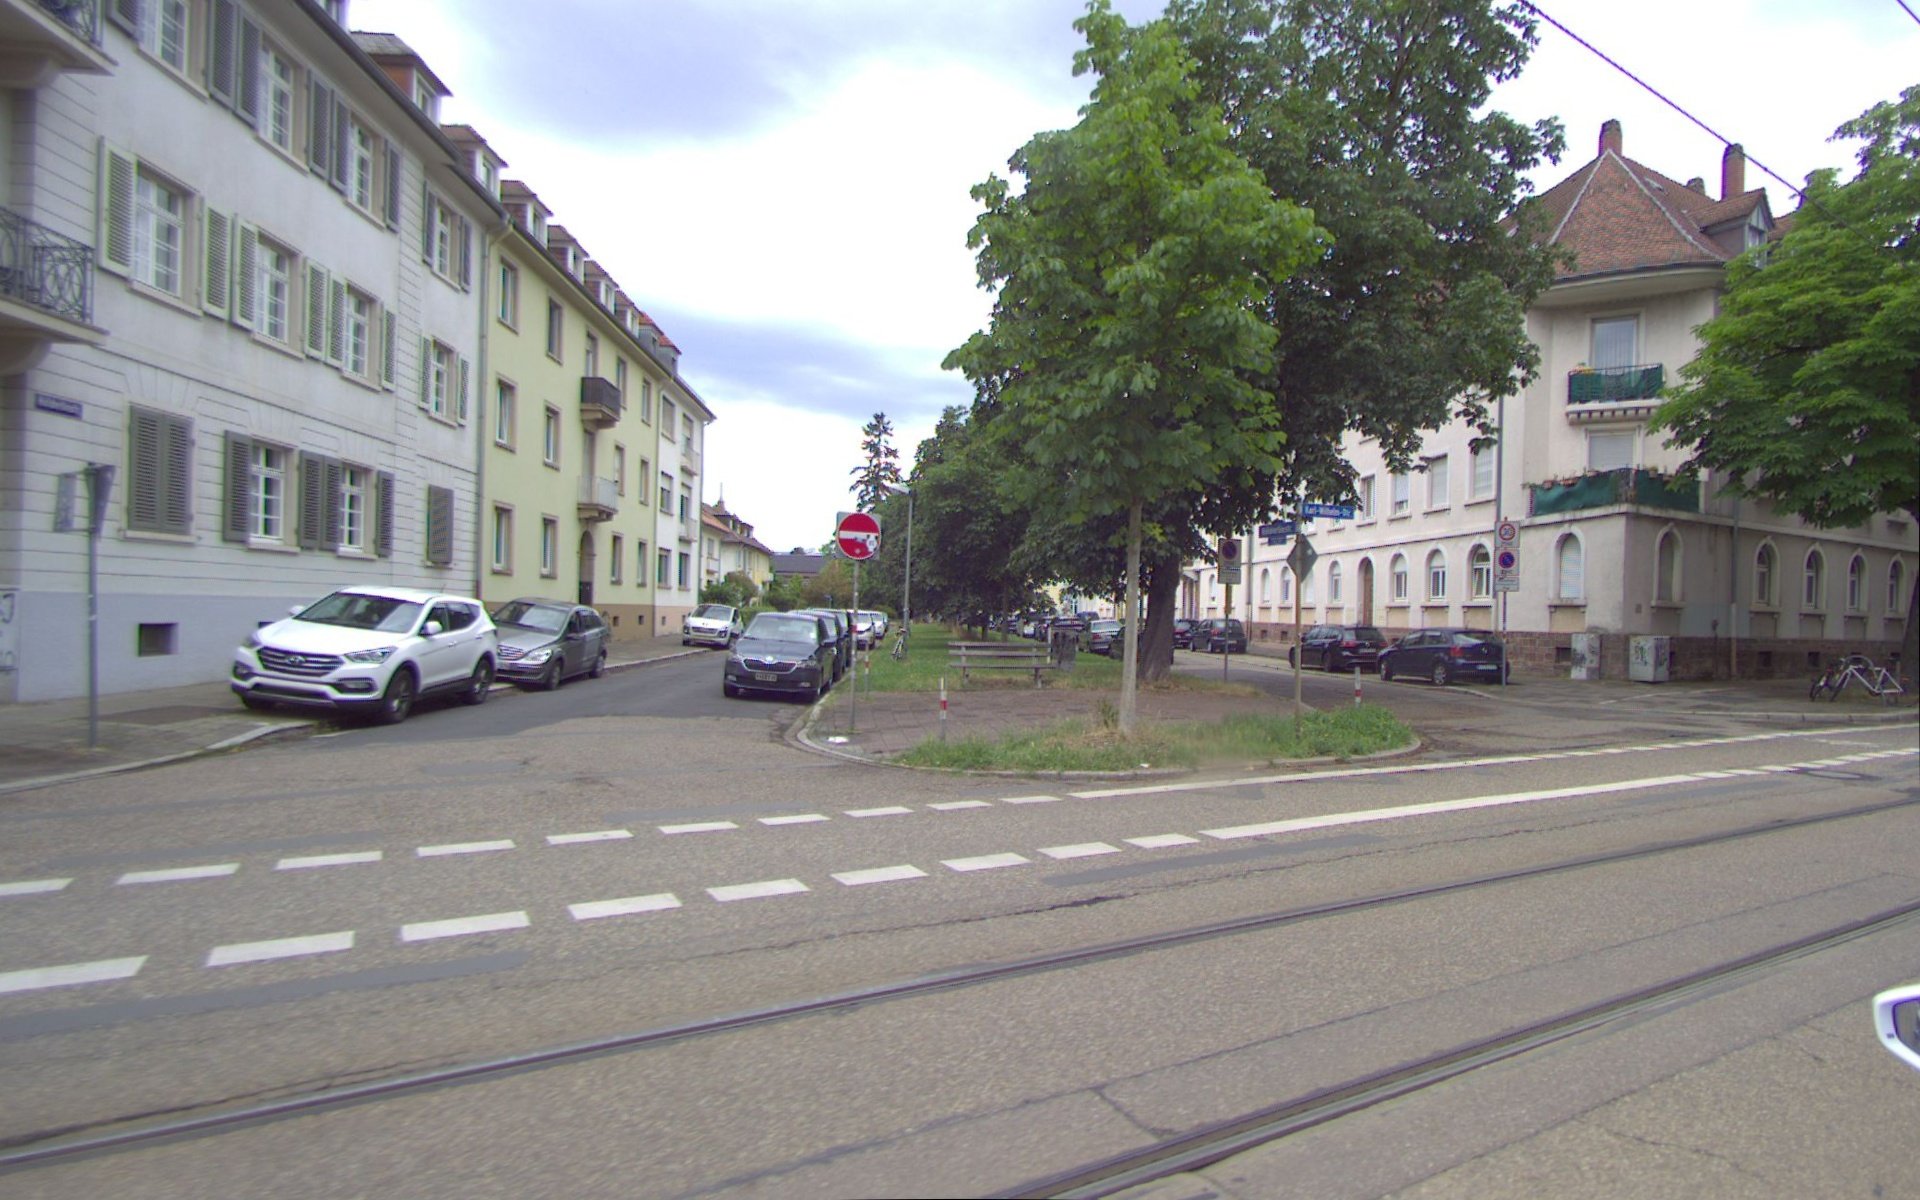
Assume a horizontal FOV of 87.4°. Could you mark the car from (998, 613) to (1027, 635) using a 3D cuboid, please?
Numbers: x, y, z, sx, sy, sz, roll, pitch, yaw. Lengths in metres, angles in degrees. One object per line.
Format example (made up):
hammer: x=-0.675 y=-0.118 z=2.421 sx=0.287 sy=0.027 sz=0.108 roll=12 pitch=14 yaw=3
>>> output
car: x=4.145 y=1.899 z=79.991 sx=1.863 sy=1.632 sz=4.498 roll=2 pitch=0 yaw=-3

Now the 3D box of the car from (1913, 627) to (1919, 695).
car: x=26.006 y=1.585 z=25.271 sx=4.177 sy=1.677 sz=1.887 roll=2 pitch=0 yaw=-31

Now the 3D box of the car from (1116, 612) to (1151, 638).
car: x=10.487 y=1.485 z=60.883 sx=1.362 sy=1.449 sz=3.310 roll=2 pitch=0 yaw=-3

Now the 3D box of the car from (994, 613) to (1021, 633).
car: x=4.018 y=1.949 z=86.287 sx=1.863 sy=1.632 sz=4.498 roll=2 pitch=0 yaw=-3

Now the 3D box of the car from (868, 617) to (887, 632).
car: x=-6.086 y=1.794 z=74.460 sx=1.273 sy=1.002 sz=3.166 roll=1 pitch=0 yaw=-3

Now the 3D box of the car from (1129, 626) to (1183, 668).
car: x=6.841 y=1.604 z=35.259 sx=1.329 sy=1.316 sz=2.968 roll=2 pitch=0 yaw=2

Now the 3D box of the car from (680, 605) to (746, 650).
car: x=-9.455 y=1.029 z=38.691 sx=1.739 sy=1.572 sz=4.150 roll=2 pitch=-1 yaw=-4

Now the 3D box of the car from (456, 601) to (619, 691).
car: x=-8.410 y=0.845 z=20.405 sx=1.705 sy=1.533 sz=4.046 roll=3 pitch=0 yaw=-3

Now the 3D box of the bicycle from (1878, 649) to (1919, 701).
bicycle: x=22.614 y=1.781 z=23.217 sx=0.616 sy=1.136 sz=1.913 roll=2 pitch=1 yaw=-30

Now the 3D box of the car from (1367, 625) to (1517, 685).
car: x=12.184 y=1.357 z=25.662 sx=1.708 sy=1.324 sz=3.757 roll=2 pitch=-1 yaw=-6

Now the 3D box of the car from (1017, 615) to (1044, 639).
car: x=4.461 y=1.668 z=63.473 sx=1.270 sy=1.409 sz=3.116 roll=2 pitch=0 yaw=-4

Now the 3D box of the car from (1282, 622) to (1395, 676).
car: x=11.751 y=1.476 z=31.460 sx=1.675 sy=1.483 sz=3.940 roll=1 pitch=0 yaw=-7

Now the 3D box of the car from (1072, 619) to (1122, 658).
car: x=5.701 y=1.569 z=42.065 sx=1.640 sy=1.428 sz=4.001 roll=2 pitch=0 yaw=2

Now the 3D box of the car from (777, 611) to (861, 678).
car: x=-3.279 y=0.991 z=23.934 sx=1.633 sy=1.364 sz=4.008 roll=2 pitch=0 yaw=-4

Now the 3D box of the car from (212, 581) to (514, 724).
car: x=-8.171 y=0.654 z=14.341 sx=1.902 sy=1.685 sz=4.513 roll=2 pitch=0 yaw=-5

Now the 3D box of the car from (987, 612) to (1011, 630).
car: x=3.744 y=1.968 z=95.913 sx=1.863 sy=1.632 sz=4.498 roll=2 pitch=0 yaw=-3

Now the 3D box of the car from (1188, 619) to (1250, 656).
car: x=11.483 y=1.651 z=44.712 sx=1.642 sy=1.460 sz=3.498 roll=2 pitch=0 yaw=-3

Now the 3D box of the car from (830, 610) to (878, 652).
car: x=-4.259 y=1.232 z=40.878 sx=1.768 sy=1.573 sz=4.187 roll=1 pitch=-1 yaw=-4

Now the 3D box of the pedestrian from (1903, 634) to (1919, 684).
pedestrian: x=29.028 y=1.787 z=30.365 sx=0.714 sy=1.487 sz=0.562 roll=2 pitch=0 yaw=-30

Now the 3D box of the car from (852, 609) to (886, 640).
car: x=-5.076 y=1.328 z=56.428 sx=1.729 sy=1.573 sz=4.187 roll=2 pitch=0 yaw=-4

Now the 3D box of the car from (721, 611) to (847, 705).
car: x=-3.125 y=0.978 z=18.572 sx=1.629 sy=1.429 sz=4.070 roll=2 pitch=0 yaw=-1

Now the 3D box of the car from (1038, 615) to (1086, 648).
car: x=5.422 y=1.654 z=53.813 sx=1.812 sy=1.554 sz=3.997 roll=2 pitch=0 yaw=-5

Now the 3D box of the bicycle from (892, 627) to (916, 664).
bicycle: x=-1.447 y=1.171 z=26.172 sx=0.569 sy=0.908 sz=1.395 roll=1 pitch=0 yaw=-2

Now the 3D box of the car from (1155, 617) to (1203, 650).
car: x=10.883 y=1.629 z=50.074 sx=1.511 sy=1.494 sz=4.000 roll=2 pitch=0 yaw=0

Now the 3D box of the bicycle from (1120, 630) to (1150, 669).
bicycle: x=4.601 y=1.288 z=26.453 sx=0.440 sy=0.937 sz=1.674 roll=1 pitch=0 yaw=-2

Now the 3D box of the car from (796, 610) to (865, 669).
car: x=-3.698 y=1.097 z=29.293 sx=1.670 sy=1.500 sz=4.187 roll=2 pitch=0 yaw=-4

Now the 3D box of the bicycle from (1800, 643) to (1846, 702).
bicycle: x=18.495 y=1.525 z=21.510 sx=0.667 sy=1.151 sz=1.925 roll=1 pitch=0 yaw=43

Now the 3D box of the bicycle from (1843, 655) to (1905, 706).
bicycle: x=18.472 y=1.611 z=20.297 sx=1.380 sy=0.971 sz=0.481 roll=2 pitch=0 yaw=-28
